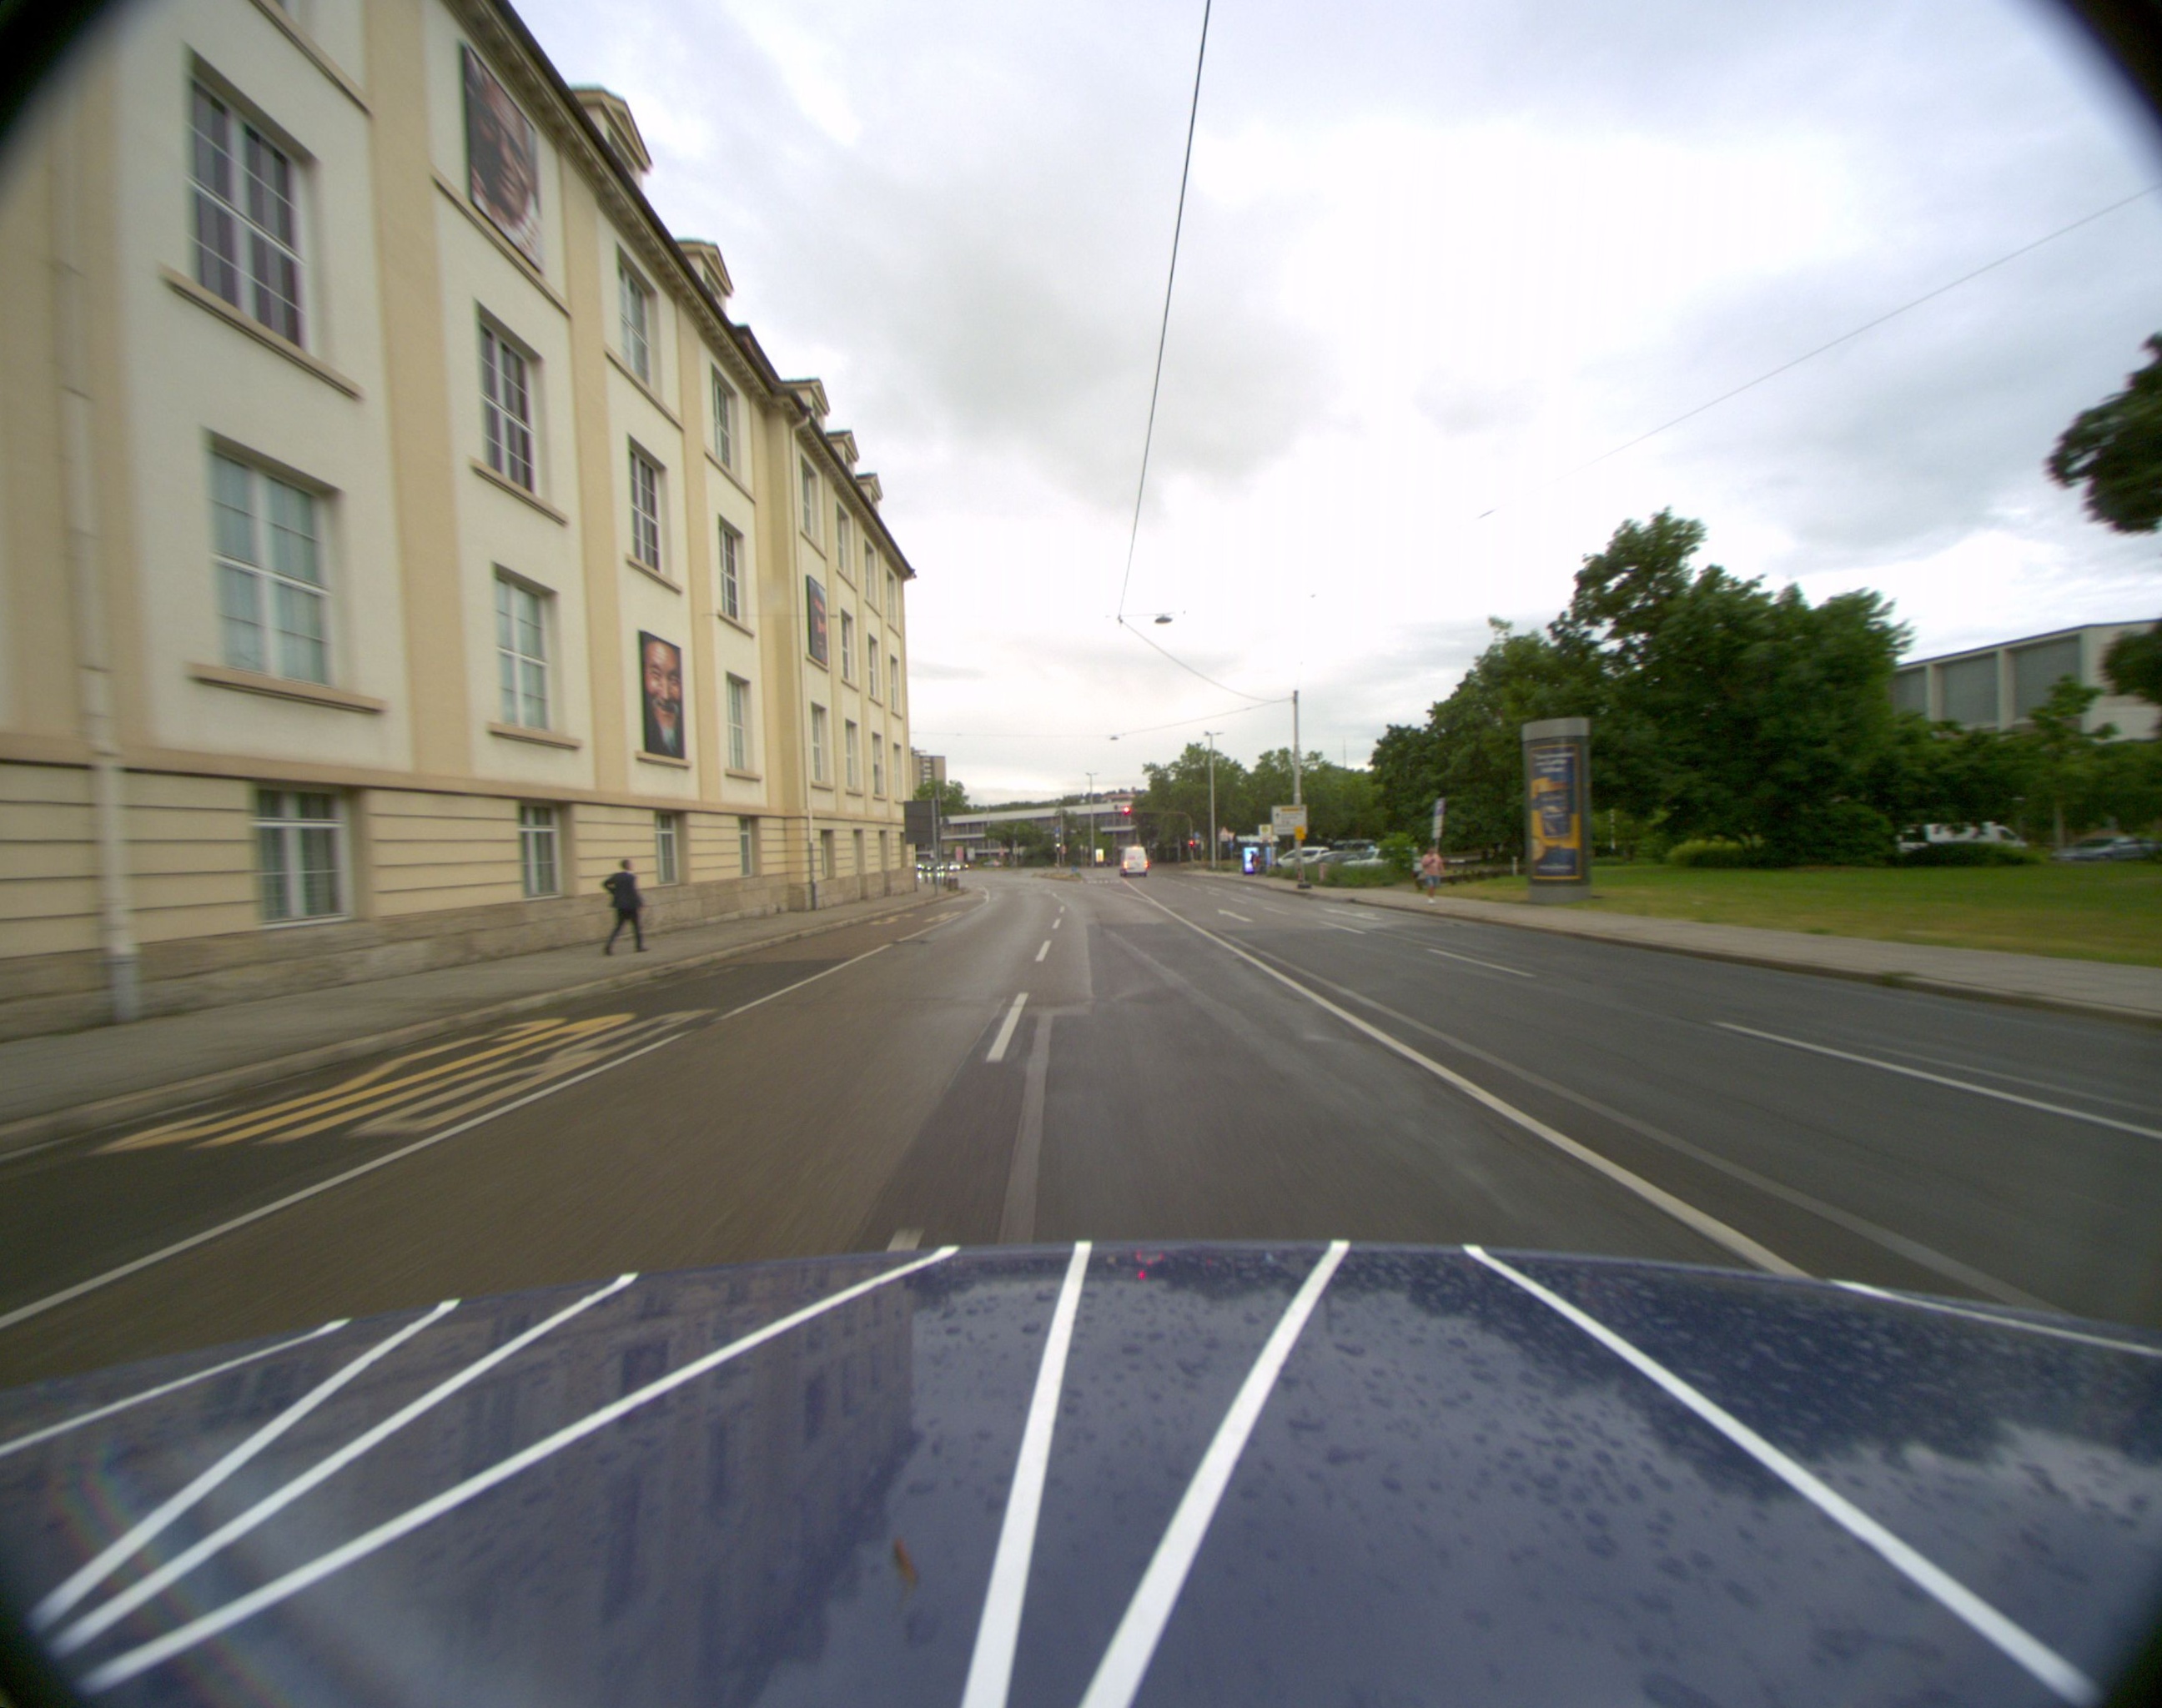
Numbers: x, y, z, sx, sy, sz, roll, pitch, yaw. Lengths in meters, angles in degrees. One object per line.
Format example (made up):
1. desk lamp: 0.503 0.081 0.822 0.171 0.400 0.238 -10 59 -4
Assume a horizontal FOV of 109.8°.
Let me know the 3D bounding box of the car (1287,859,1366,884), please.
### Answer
1. car: 15.394 1.122 47.695 4.369 1.341 1.908 -3 1 30

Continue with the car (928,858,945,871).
1. car: -22.064 1.575 116.059 1.886 1.857 4.340 -1 0 -21

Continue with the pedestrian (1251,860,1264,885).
1. pedestrian: 12.258 1.297 52.687 0.629 1.686 0.642 -3 1 -7

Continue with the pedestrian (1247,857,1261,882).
1. pedestrian: 12.146 1.090 53.428 0.685 1.686 0.672 -3 1 -7

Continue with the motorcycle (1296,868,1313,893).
1. motorcycle: 11.857 1.404 40.311 0.516 1.240 1.267 -3 1 2

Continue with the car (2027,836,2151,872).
1. car: 55.034 0.014 41.553 3.997 1.740 2.000 -3 0 1

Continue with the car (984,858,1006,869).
1. car: -15.896 1.744 139.865 2.081 1.900 4.336 -1 0 -37

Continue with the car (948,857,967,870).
1. car: -18.951 1.503 116.594 2.079 1.900 4.555 -1 0 -21

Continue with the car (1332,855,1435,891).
1. car: 15.181 0.951 38.369 1.871 1.600 4.516 -4 1 -33

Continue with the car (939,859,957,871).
1. car: -21.442 1.740 122.263 2.079 1.816 4.555 -1 0 -21

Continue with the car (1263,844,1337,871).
1. car: 15.883 0.271 55.326 4.711 1.745 2.020 -3 1 42

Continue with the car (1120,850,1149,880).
1. car: 4.790 0.978 68.776 1.988 2.514 5.631 -1 0 -1

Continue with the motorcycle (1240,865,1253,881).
1. motorcycle: 13.649 1.547 62.587 0.516 1.240 1.266 -3 1 -13

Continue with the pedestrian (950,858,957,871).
1. pedestrian: -18.079 1.467 107.951 0.903 1.786 0.541 -3 1 -5

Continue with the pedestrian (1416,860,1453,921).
1. pedestrian: 10.303 1.047 22.180 0.671 1.677 0.914 -3 1 8

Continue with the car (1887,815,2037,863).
1. car: 57.056 -0.960 49.343 6.206 2.745 2.740 -3 1 4

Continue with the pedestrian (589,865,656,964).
1. pedestrian: -8.592 1.109 14.265 0.671 1.787 0.852 -1 1 2

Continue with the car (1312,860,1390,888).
1. car: 15.020 1.110 42.318 3.588 1.341 1.846 -3 1 39

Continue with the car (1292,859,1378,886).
1. car: 15.037 1.113 45.068 4.573 1.341 1.907 -3 1 25
